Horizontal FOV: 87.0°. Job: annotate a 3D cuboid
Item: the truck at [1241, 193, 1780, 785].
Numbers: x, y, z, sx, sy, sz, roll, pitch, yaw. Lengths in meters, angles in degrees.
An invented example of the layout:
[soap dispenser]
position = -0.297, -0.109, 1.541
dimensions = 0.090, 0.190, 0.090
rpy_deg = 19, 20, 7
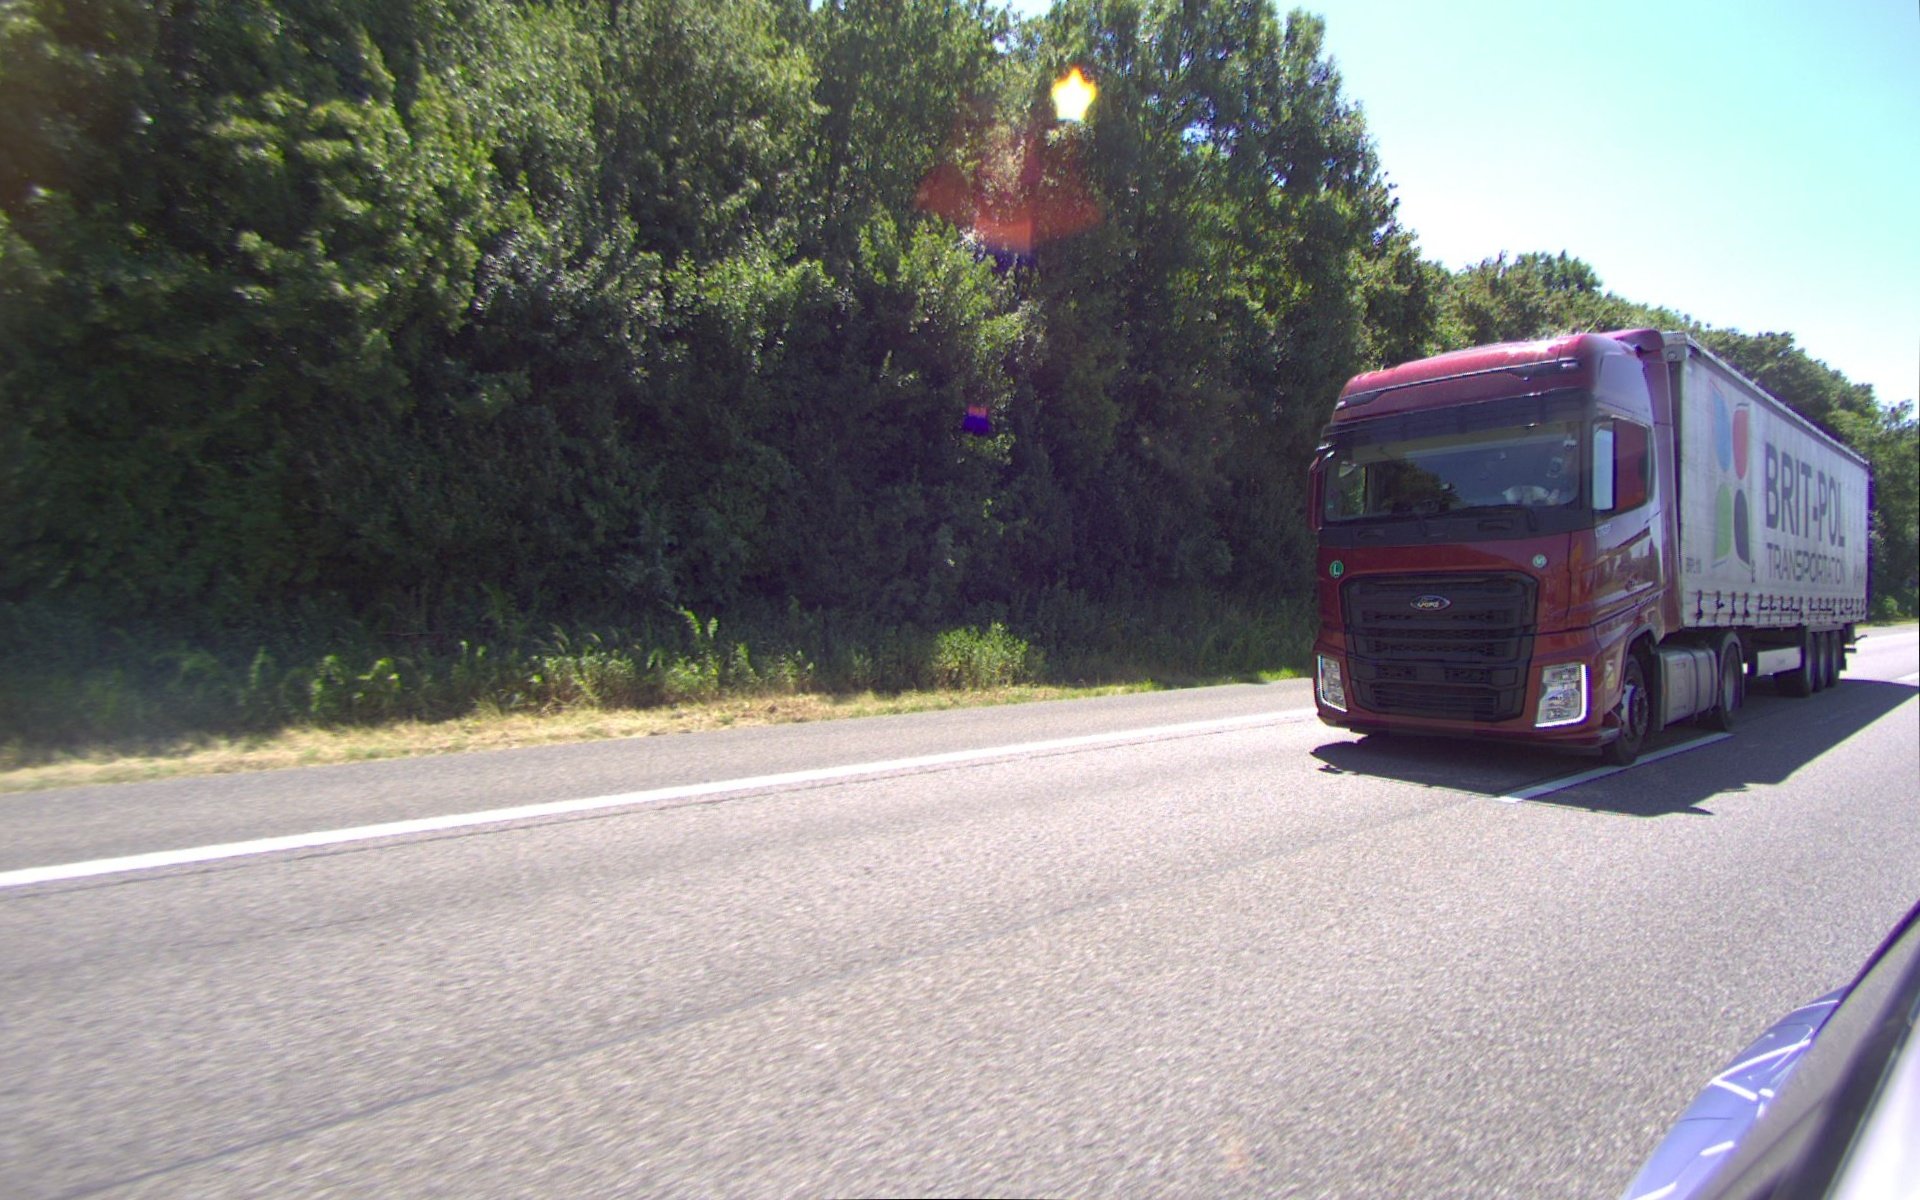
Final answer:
[truck]
position = 6.063, -0.899, 10.804
dimensions = 5.945, 4.496, 3.094
rpy_deg = -1, 1, -40

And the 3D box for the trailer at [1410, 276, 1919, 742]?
[trailer]
position = 12.106, -0.980, 15.807
dimensions = 14.630, 4.563, 3.113
rpy_deg = -1, 1, -40
